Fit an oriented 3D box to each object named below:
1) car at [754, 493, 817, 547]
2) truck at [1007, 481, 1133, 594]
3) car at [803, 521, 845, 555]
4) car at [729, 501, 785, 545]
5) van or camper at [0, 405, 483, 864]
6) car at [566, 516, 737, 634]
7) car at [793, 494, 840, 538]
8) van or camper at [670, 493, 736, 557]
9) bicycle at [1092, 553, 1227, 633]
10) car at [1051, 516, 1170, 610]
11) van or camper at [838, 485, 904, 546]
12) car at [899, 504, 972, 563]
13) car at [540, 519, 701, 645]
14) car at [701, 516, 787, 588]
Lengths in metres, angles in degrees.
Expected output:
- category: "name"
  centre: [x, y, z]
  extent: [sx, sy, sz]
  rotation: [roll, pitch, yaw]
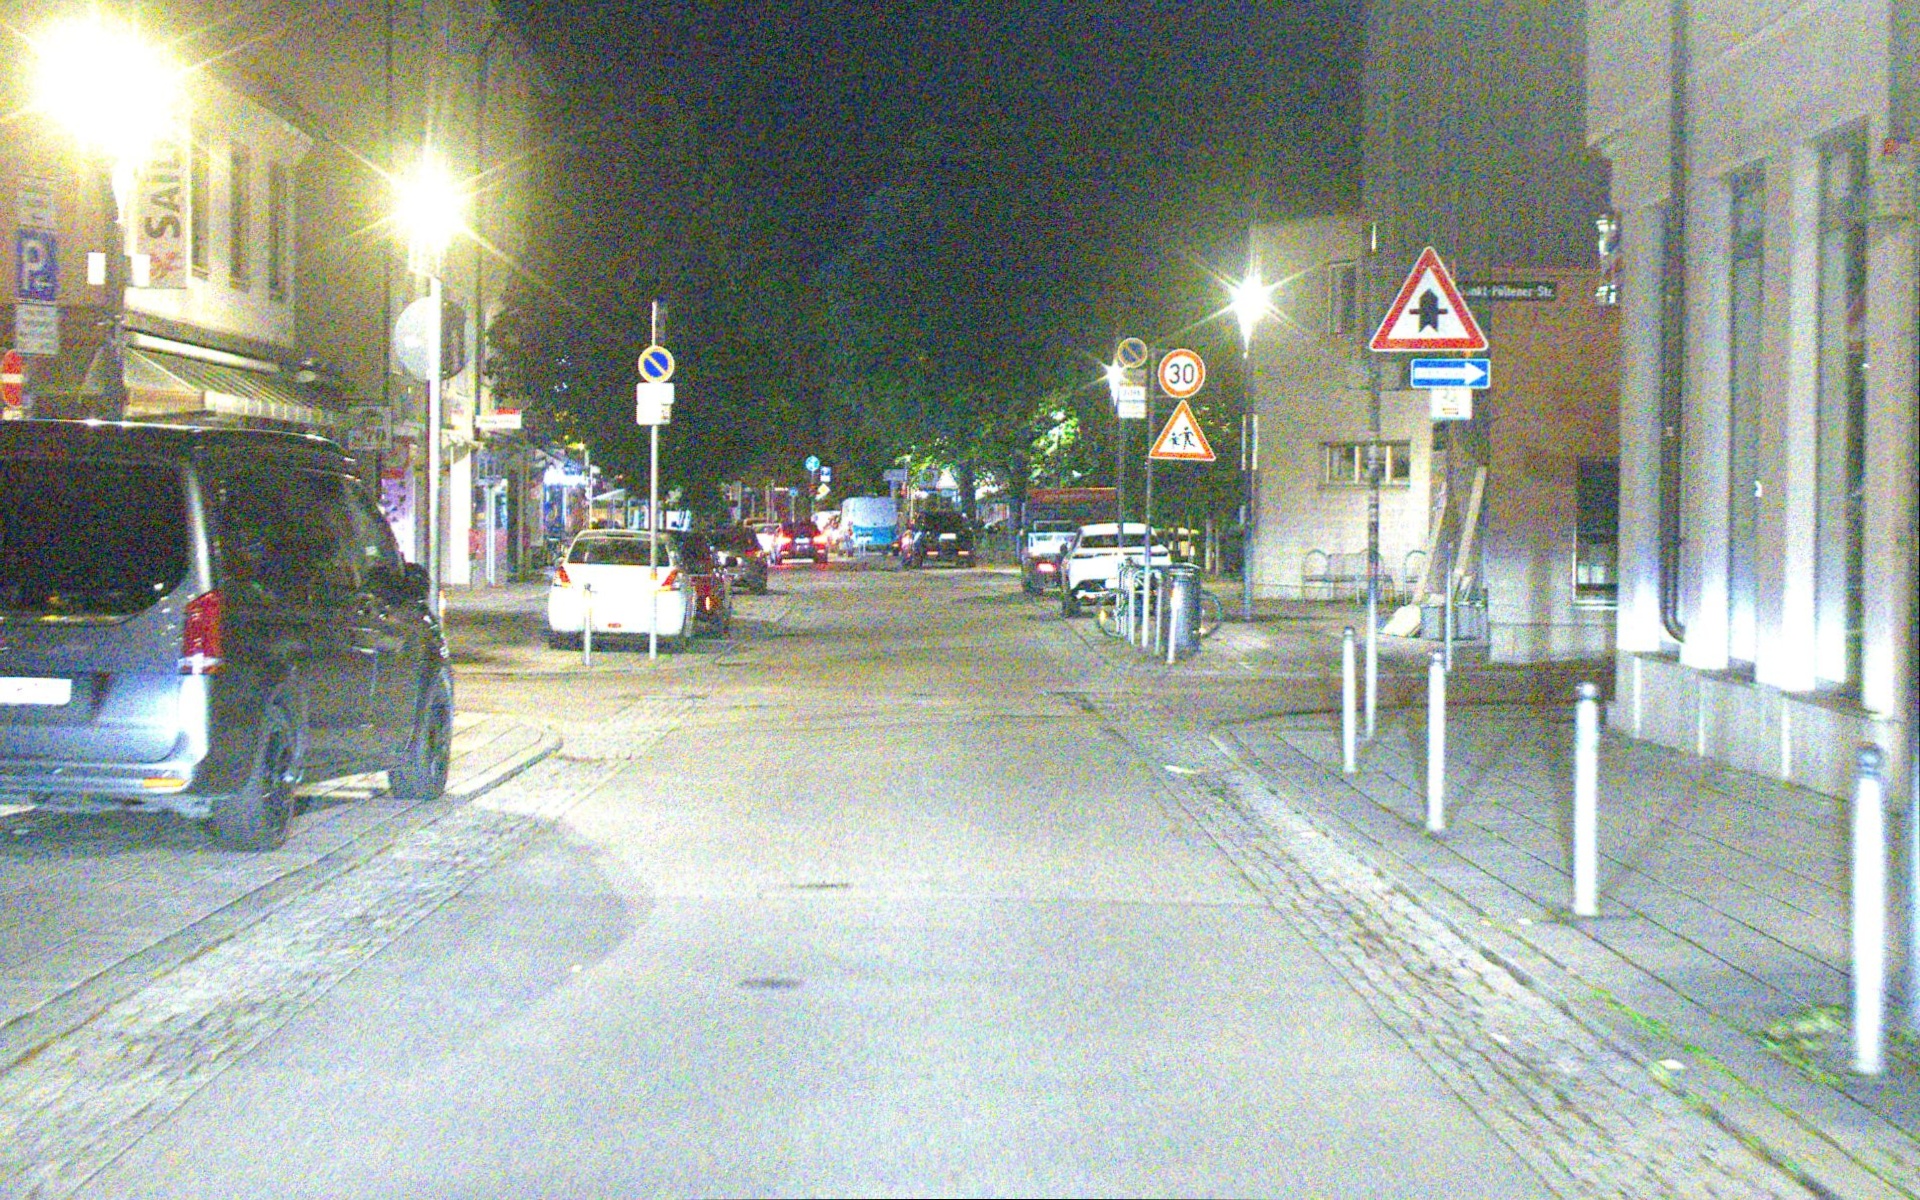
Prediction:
- category: "car"
  centre: [-6.105, -2.793, 120.052]
  extent: [1.993, 1.817, 4.001]
  rotation: [0, 1, -6]
- category: "truck"
  centre: [2.276, -1.345, 72.693]
  extent: [2.336, 2.304, 5.781]
  rotation: [0, 1, -1]
- category: "car"
  centre: [-5.820, -2.668, 146.856]
  extent: [1.531, 1.413, 3.846]
  rotation: [0, 1, -6]
- category: "car"
  centre: [-7.951, -3.004, 134.223]
  extent: [1.993, 1.697, 4.001]
  rotation: [0, 1, -6]
- category: "van or camper"
  centre: [-3.893, 0.086, 17.272]
  extent: [1.846, 1.935, 5.153]
  rotation: [2, 1, 5]
- category: "car"
  centre: [-4.312, -0.394, 48.775]
  extent: [2.019, 1.483, 5.008]
  rotation: [3, 1, -2]
- category: "car"
  centre: [-6.402, -3.732, 152.859]
  extent: [1.839, 1.894, 3.846]
  rotation: [0, 1, -6]
- category: "van or camper"
  centre: [-8.591, -2.510, 114.705]
  extent: [1.866, 2.004, 4.263]
  rotation: [2, 1, -8]
- category: "bicycle"
  centre: [2.651, -0.092, 45.753]
  extent: [1.754, 1.058, 0.346]
  rotation: [0, 1, -3]
- category: "car"
  centre: [2.468, -0.638, 57.159]
  extent: [1.789, 1.486, 4.059]
  rotation: [-1, 1, 0]
- category: "van or camper"
  centre: [-3.483, -3.304, 133.956]
  extent: [2.108, 2.309, 4.263]
  rotation: [-1, 2, -7]
- category: "car"
  centre: [-0.779, -2.094, 107.856]
  extent: [1.814, 1.822, 4.348]
  rotation: [0, 1, -7]
- category: "car"
  centre: [-4.248, -0.265, 43.489]
  extent: [1.728, 1.471, 3.847]
  rotation: [1, 1, -2]
- category: "car"
  centre: [-4.872, -1.104, 77.095]
  extent: [1.673, 1.538, 4.231]
  rotation: [1, 1, -7]
